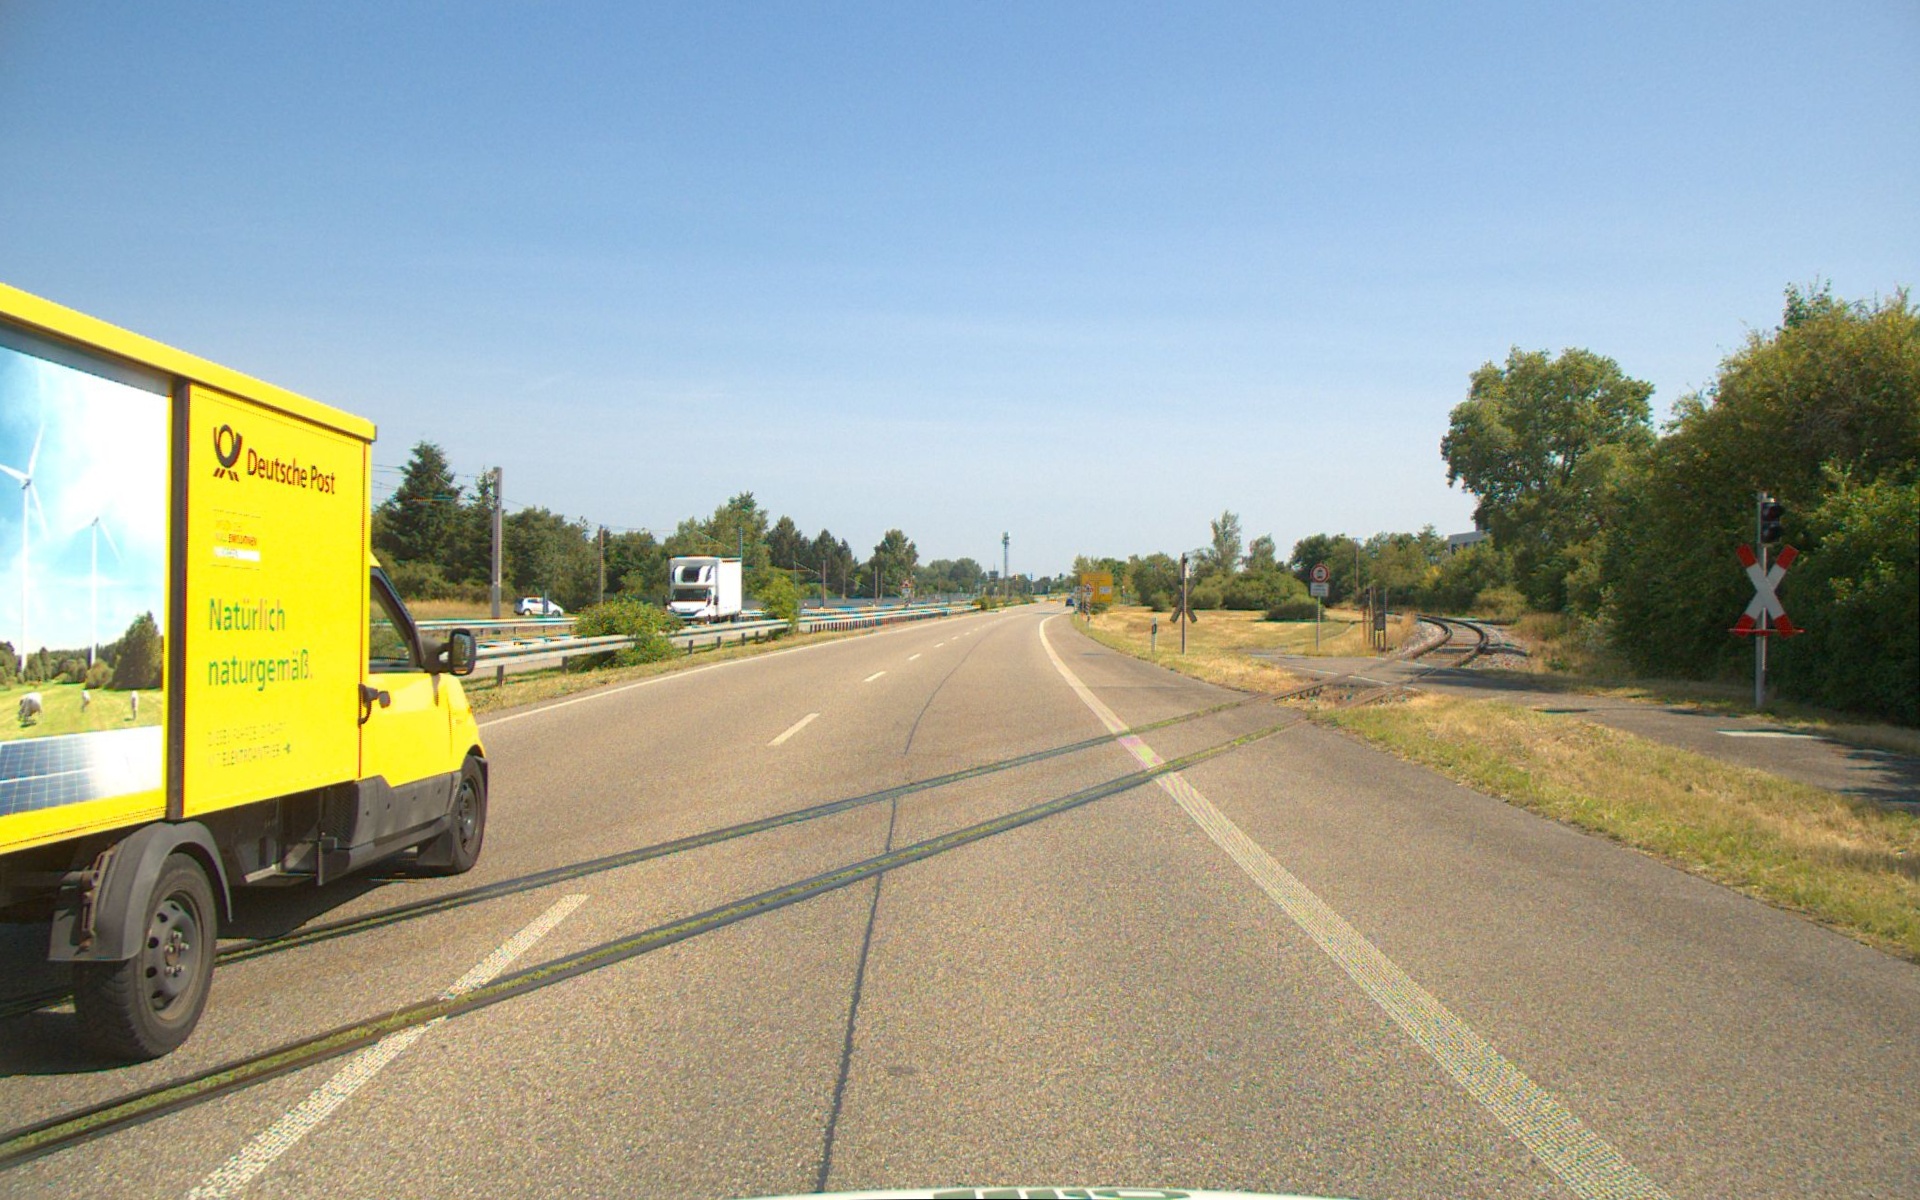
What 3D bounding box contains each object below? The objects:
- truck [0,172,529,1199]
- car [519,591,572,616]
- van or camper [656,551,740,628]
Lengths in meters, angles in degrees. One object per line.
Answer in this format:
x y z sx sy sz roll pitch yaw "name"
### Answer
-3.432 0.208 6.545 2.069 2.500 5.915 0 0 -2 "truck"
-34.430 0.268 137.372 3.936 2.049 1.984 0 0 -25 "car"
-13.296 -0.514 84.554 2.817 3.745 8.644 0 0 1 "van or camper"
